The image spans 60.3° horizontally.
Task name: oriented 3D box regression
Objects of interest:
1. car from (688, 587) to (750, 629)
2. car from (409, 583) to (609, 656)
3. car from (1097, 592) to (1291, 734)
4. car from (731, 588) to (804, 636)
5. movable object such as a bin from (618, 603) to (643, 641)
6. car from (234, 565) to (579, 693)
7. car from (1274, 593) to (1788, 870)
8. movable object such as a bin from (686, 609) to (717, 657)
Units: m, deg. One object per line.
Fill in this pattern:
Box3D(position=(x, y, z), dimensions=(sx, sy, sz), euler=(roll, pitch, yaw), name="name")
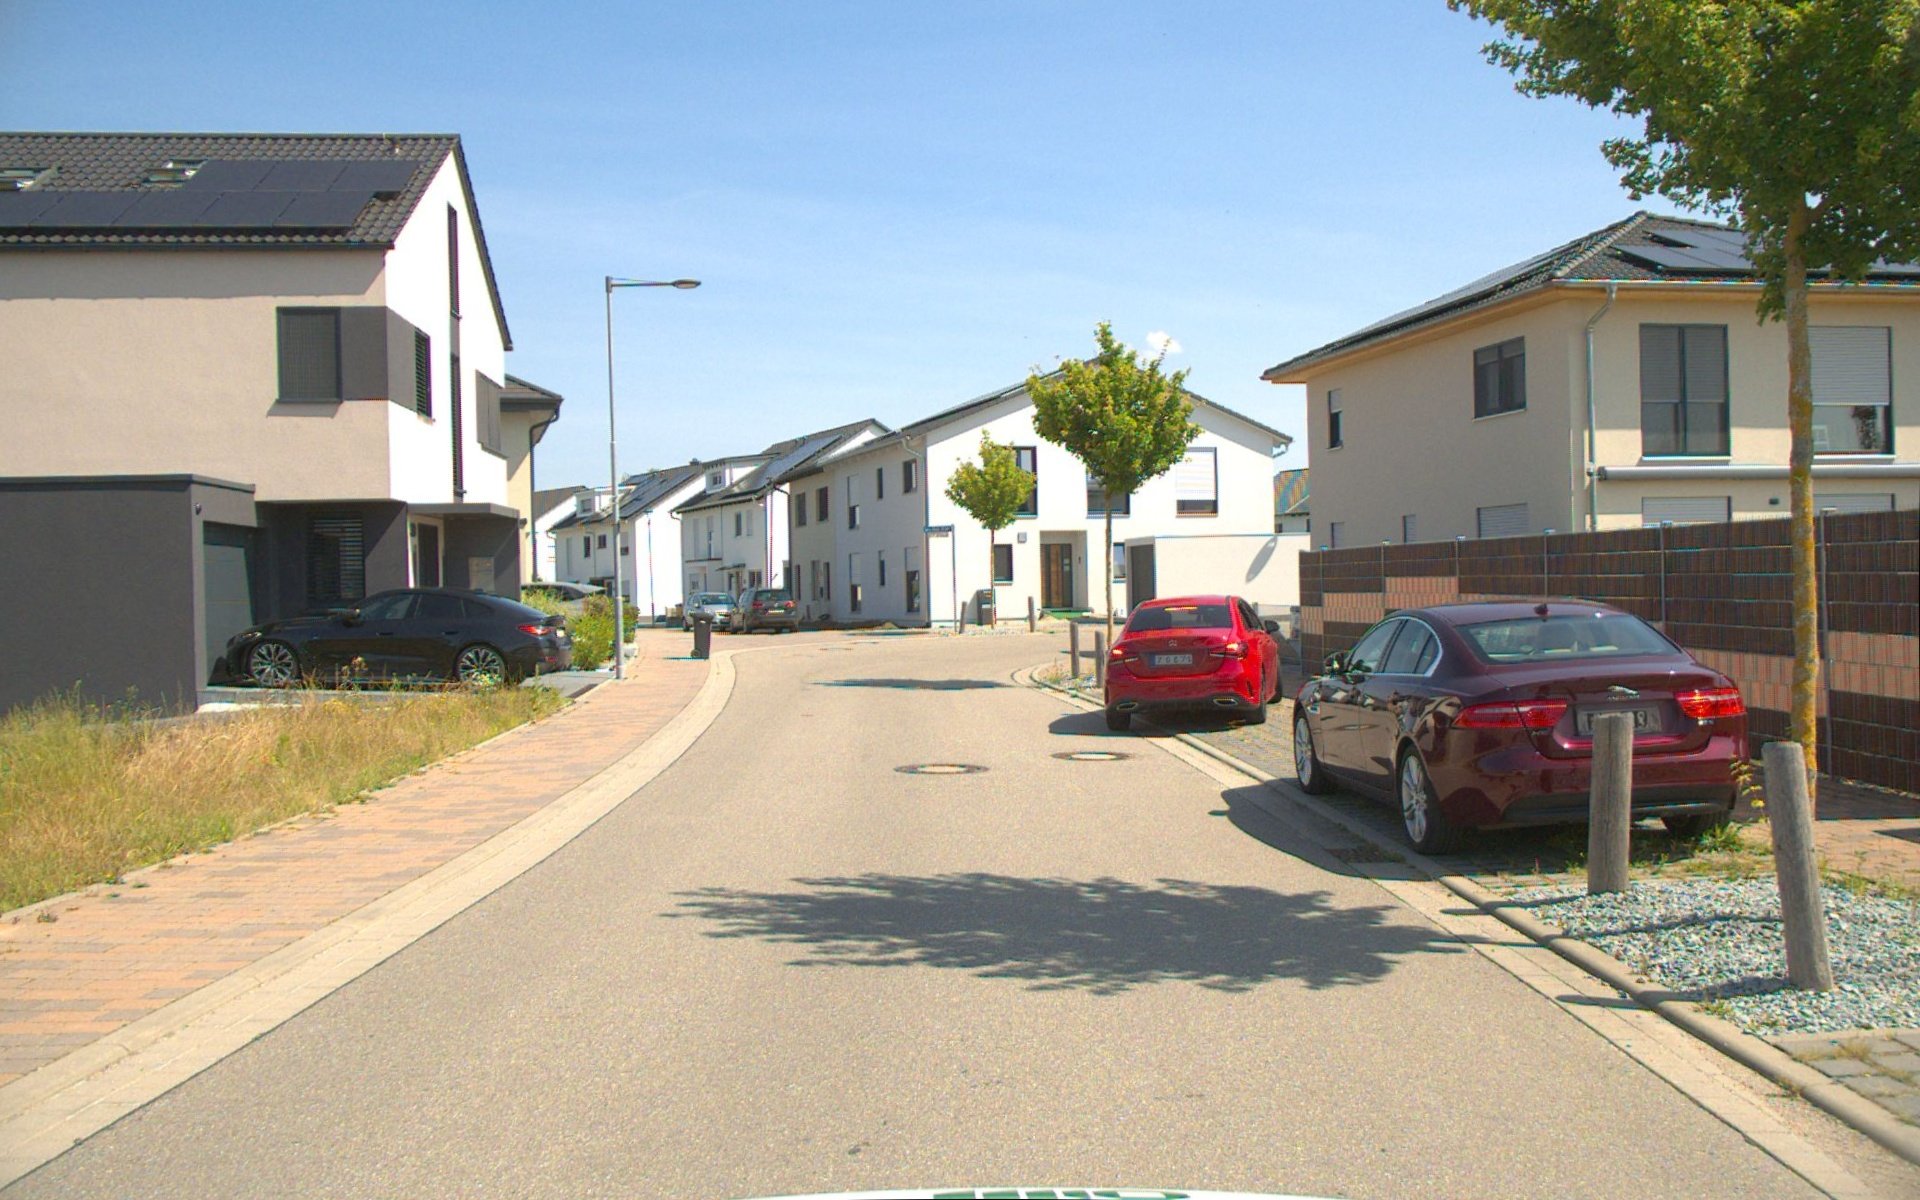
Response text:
Box3D(position=(-9.229, 0.288, 63.231), dimensions=(1.651, 1.489, 3.923), euler=(-2, 0, -18), name="car")
Box3D(position=(-9.841, 0.405, 36.276), dimensions=(3.907, 1.512, 1.753), euler=(-1, 0, -3), name="car")
Box3D(position=(2.902, 0.648, 19.701), dimensions=(1.725, 1.463, 4.523), euler=(0, 0, 15), name="car")
Box3D(position=(-6.281, 0.373, 53.669), dimensions=(1.699, 1.447, 3.983), euler=(-2, 0, -16), name="car")
Box3D(position=(-8.418, 0.561, 42.286), dimensions=(0.604, 0.943, 0.422), euler=(1, -1, -13), name="movable object such as a bin")
Box3D(position=(-7.746, 0.404, 23.484), dimensions=(4.290, 1.660, 1.769), euler=(1, 0, -5), name="car")
Box3D(position=(3.452, 0.684, 11.024), dimensions=(1.719, 1.387, 4.574), euler=(-2, 0, -2), name="car")
Box3D(position=(-5.294, 0.669, 33.874), dimensions=(0.523, 0.952, 0.526), euler=(0, 0, 4), name="movable object such as a bin")
